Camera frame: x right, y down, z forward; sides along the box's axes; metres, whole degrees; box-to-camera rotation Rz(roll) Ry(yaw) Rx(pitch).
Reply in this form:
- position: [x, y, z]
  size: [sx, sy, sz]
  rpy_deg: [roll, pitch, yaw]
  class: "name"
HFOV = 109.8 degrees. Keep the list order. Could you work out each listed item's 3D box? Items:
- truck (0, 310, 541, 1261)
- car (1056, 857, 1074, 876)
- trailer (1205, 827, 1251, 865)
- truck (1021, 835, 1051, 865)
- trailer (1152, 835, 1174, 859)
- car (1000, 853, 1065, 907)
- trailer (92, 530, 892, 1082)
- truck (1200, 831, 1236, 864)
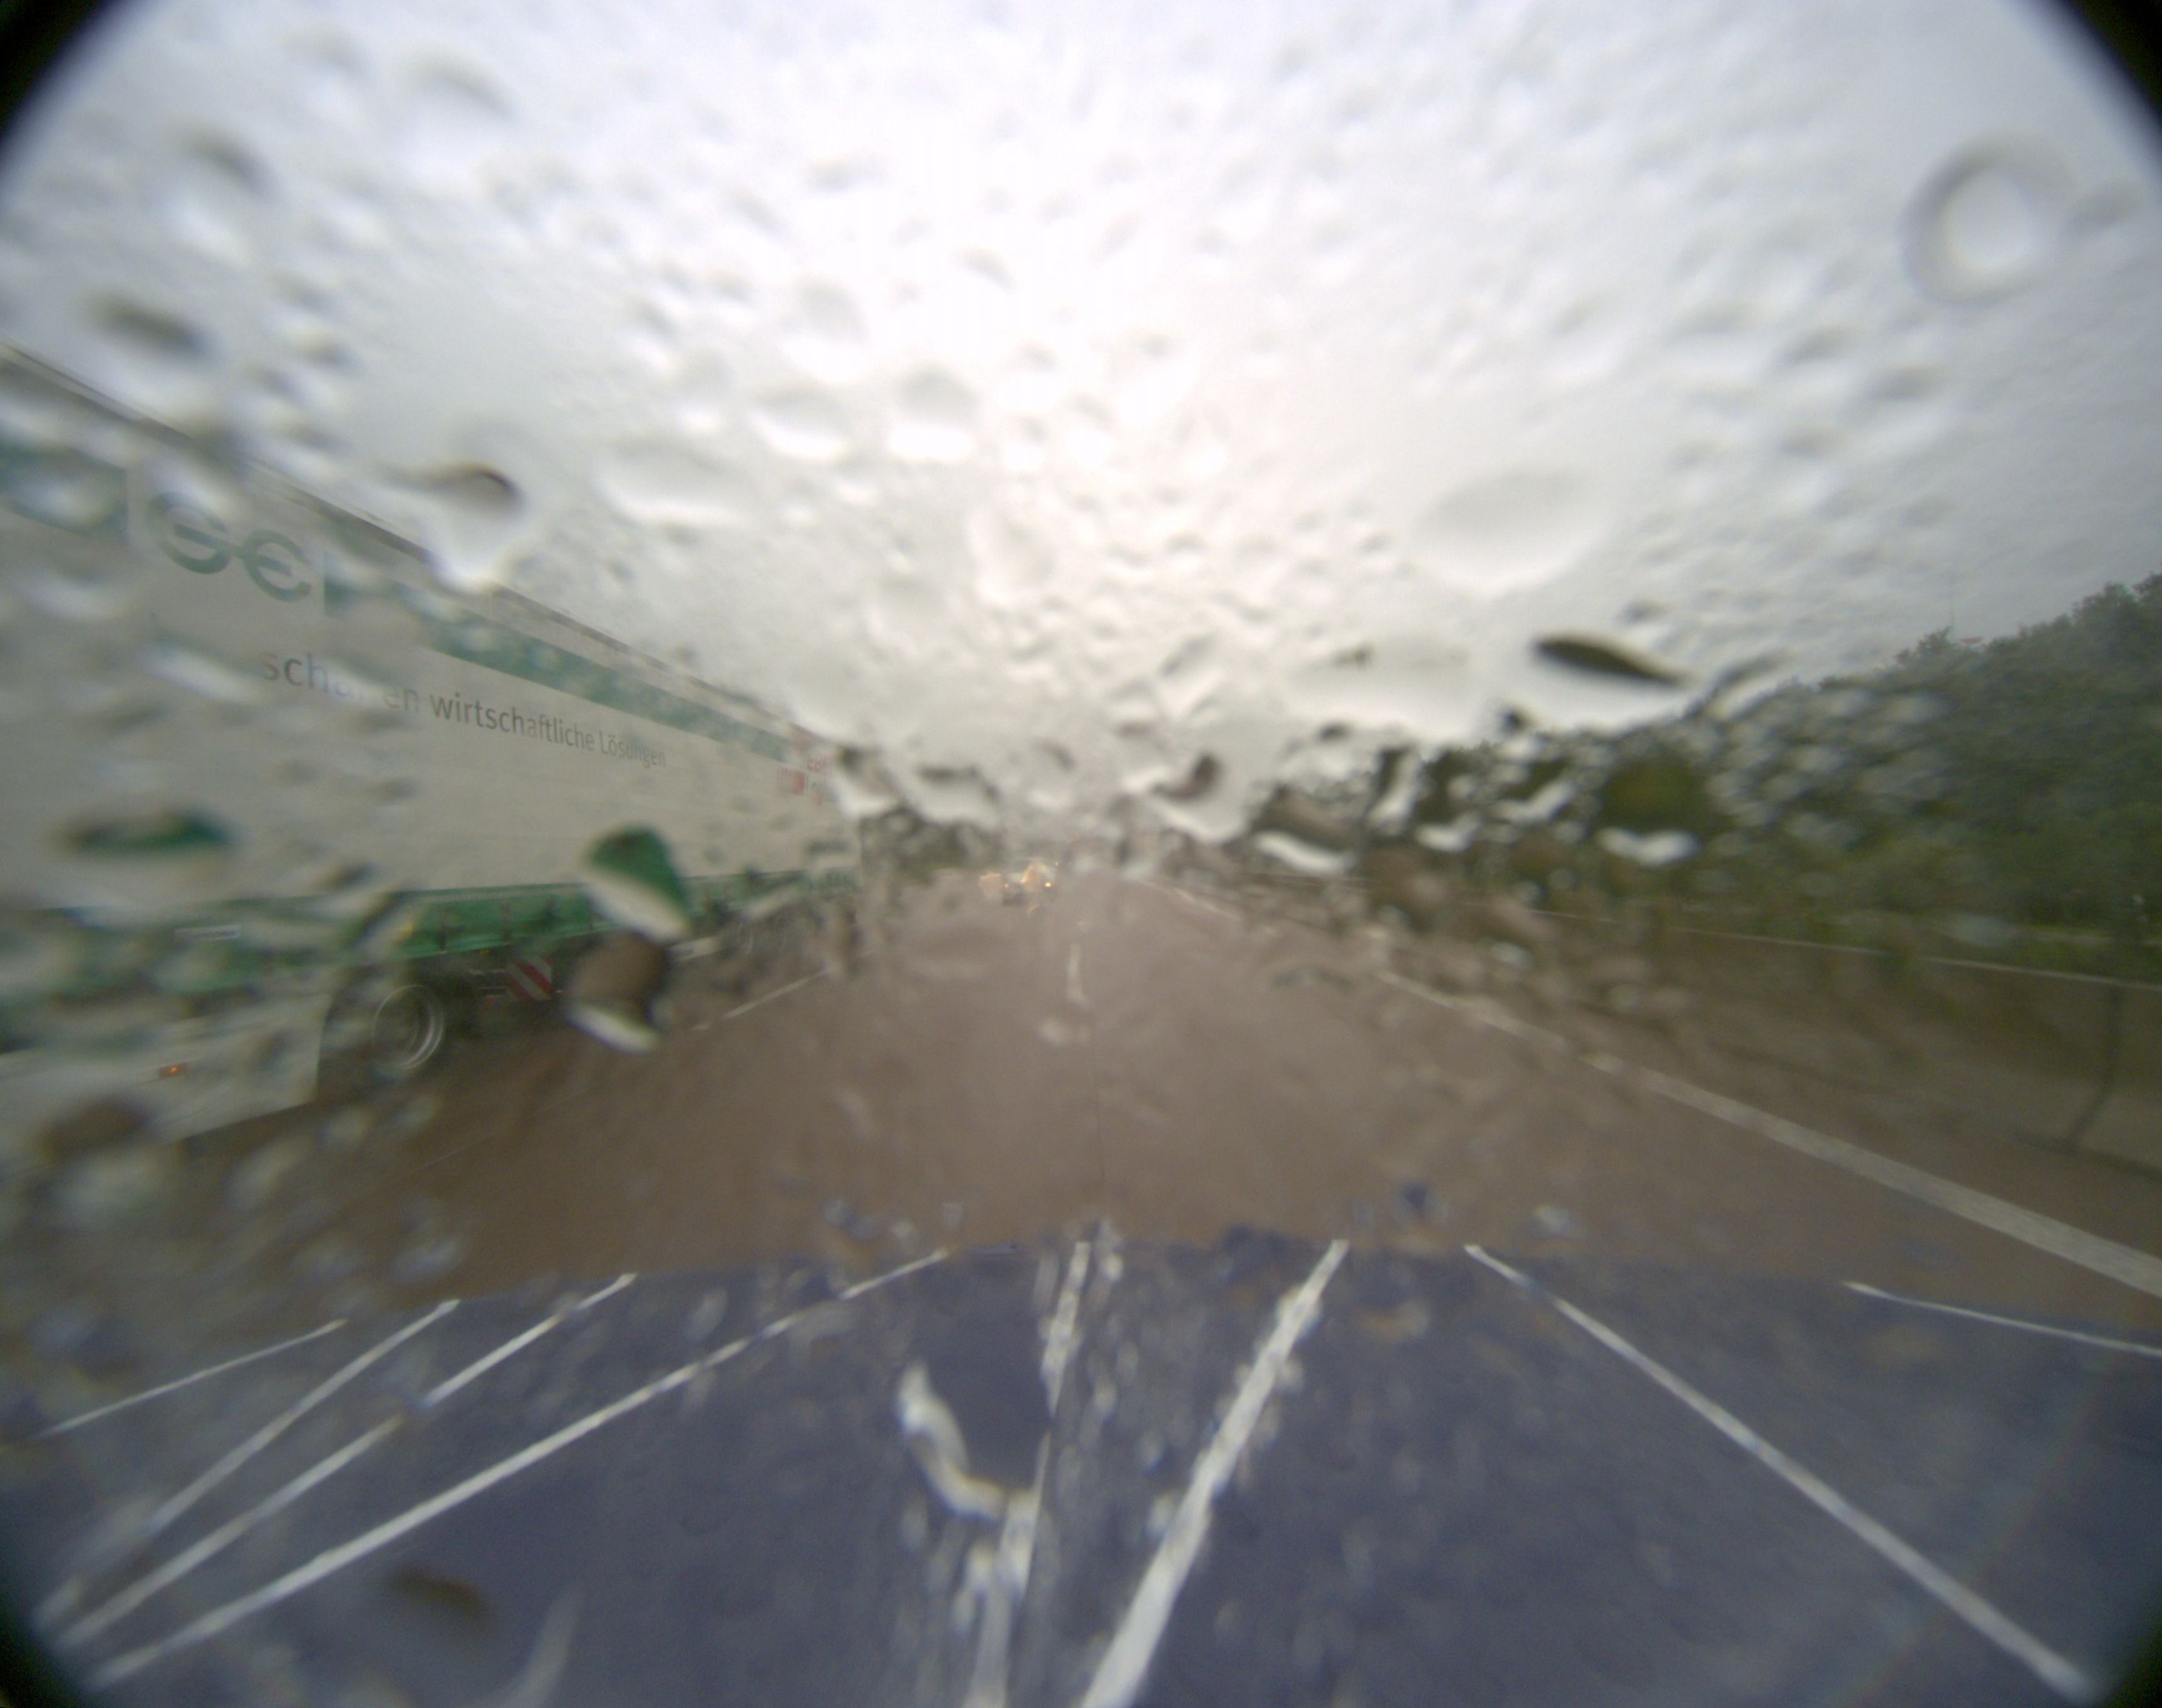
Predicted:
- position: [-6.087, -0.295, 3.352]
  size: [2.888, 4.082, 6.349]
  rpy_deg: [0, 0, 0]
  class: "truck"
- position: [-1.819, 1.366, 85.545]
  size: [1.999, 2.002, 4.276]
  rpy_deg: [0, 0, -1]
  class: "car"
- position: [18.242, -0.924, 95.159]
  size: [3.439, 4.439, 12.446]
  rpy_deg: [0, 0, 0]
  class: "trailer"
- position: [-5.793, -0.511, 98.828]
  size: [3.242, 3.708, 7.954]
  rpy_deg: [-2, 0, 0]
  class: "truck"
- position: [17.906, -1.481, 165.988]
  size: [3.439, 4.838, 12.444]
  rpy_deg: [-2, 1, 1]
  class: "trailer"
- position: [-1.670, 0.866, 27.650]
  size: [1.812, 1.718, 4.744]
  rpy_deg: [-2, 0, 2]
  class: "car"
- position: [-6.128, -0.316, 12.369]
  size: [2.860, 4.206, 13.131]
  rpy_deg: [0, 0, 0]
  class: "trailer"
- position: [18.263, -0.802, 101.773]
  size: [3.428, 4.334, 7.947]
  rpy_deg: [0, 0, 0]
  class: "truck"
